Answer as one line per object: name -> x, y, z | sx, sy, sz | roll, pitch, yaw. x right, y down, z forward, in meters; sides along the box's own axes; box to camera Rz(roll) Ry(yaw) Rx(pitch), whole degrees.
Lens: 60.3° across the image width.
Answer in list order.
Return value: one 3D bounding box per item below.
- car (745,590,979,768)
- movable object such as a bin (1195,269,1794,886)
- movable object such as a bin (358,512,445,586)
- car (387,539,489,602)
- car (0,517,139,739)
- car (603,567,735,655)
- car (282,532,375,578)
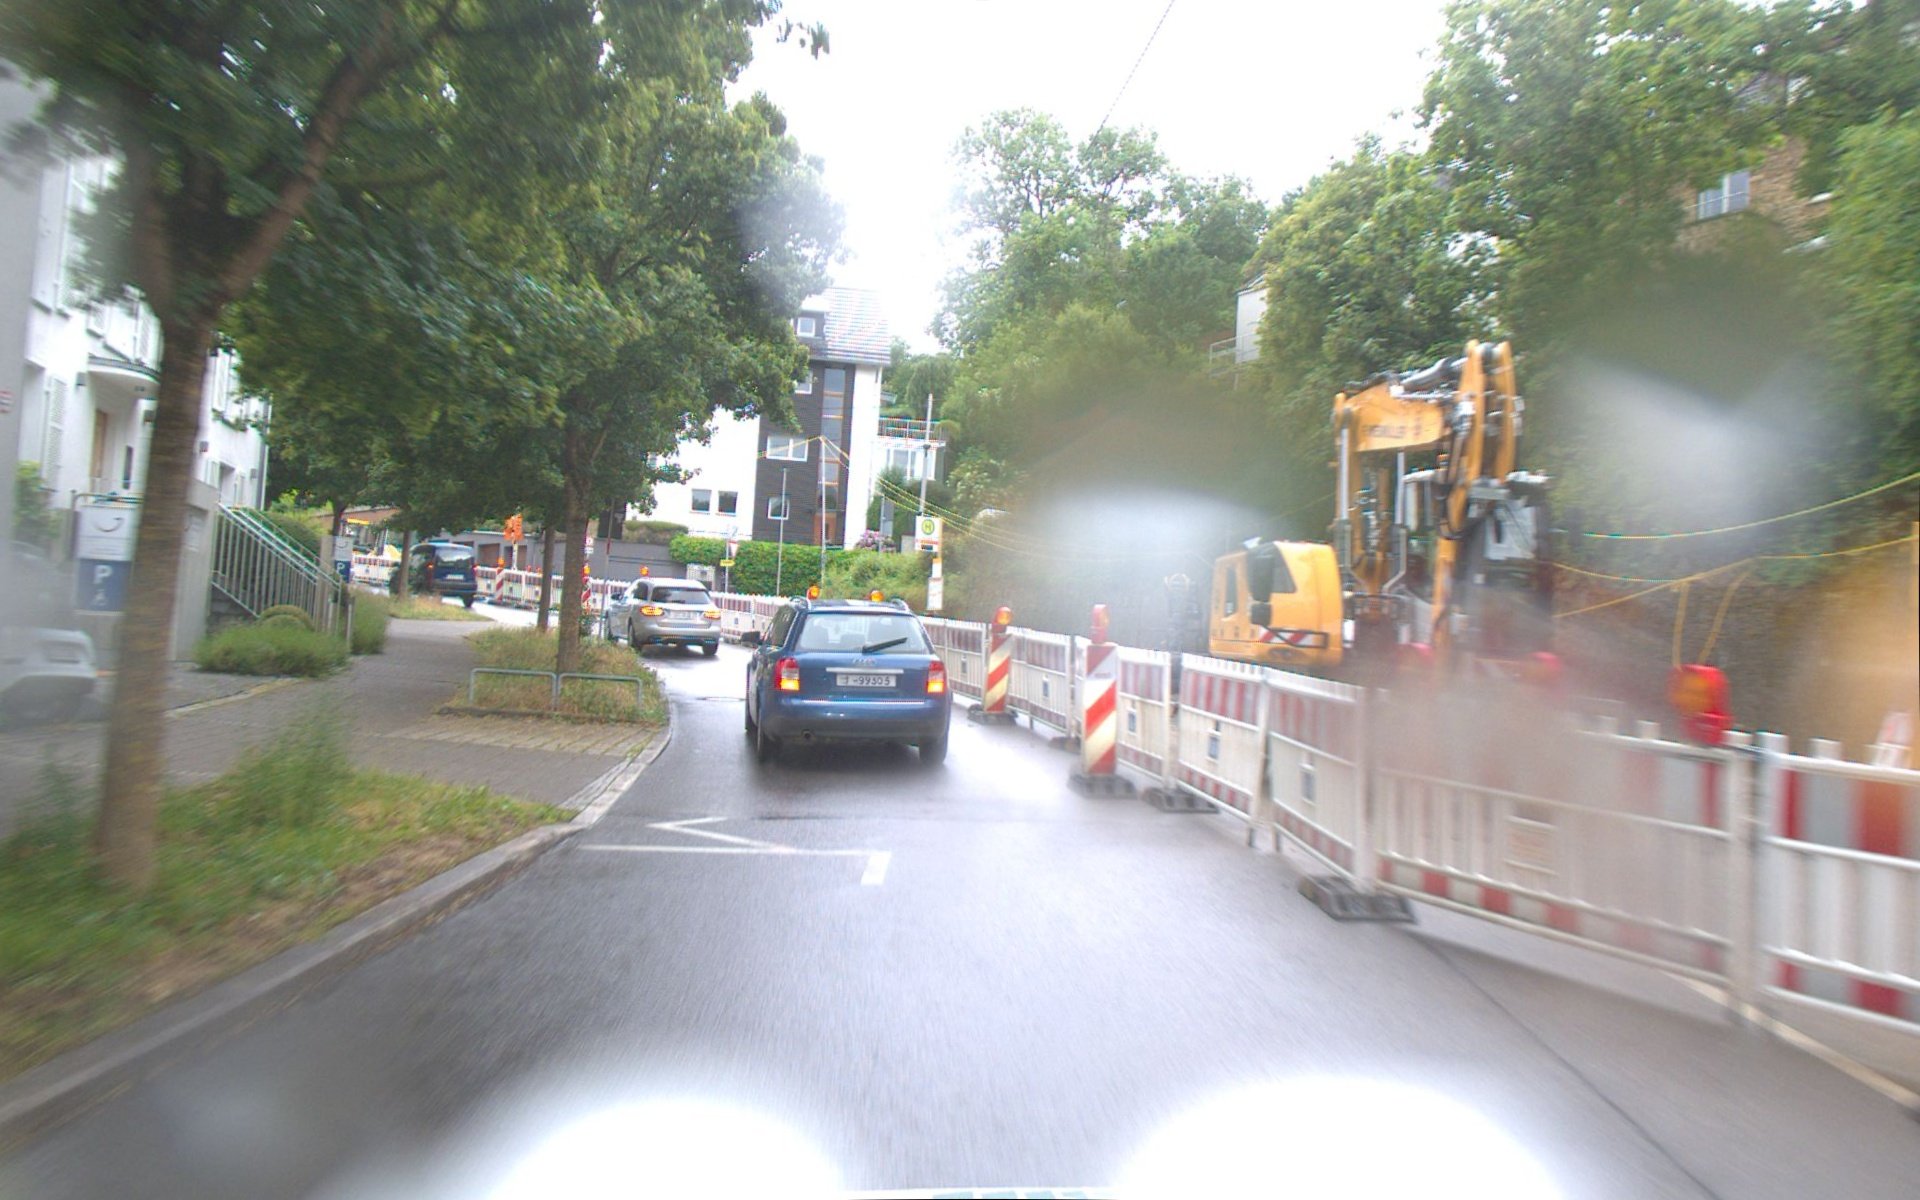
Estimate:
car -> -1.065, 0.666, 15.856 | 1.753, 1.467, 3.953 | 1, 0, -10
movable object such as a bin -> 4.154, -0.171, 14.879 | 2.762, 4.084, 7.325 | 2, 0, -1
movable object such as a bin -> -22.359, -2.069, 66.121 | 1.980, 2.658, 3.947 | 2, 3, -38
car -> -16.148, -0.877, 51.030 | 1.976, 1.825, 3.953 | 1, -1, -34
car -> -8.694, 0.152, 12.636 | 3.907, 1.588, 1.749 | 2, 0, -2
car -> -6.057, 0.190, 34.097 | 1.898, 1.646, 4.294 | 2, 0, -20
car -> -23.039, -1.608, 60.297 | 1.713, 1.512, 4.010 | 1, -1, -44
